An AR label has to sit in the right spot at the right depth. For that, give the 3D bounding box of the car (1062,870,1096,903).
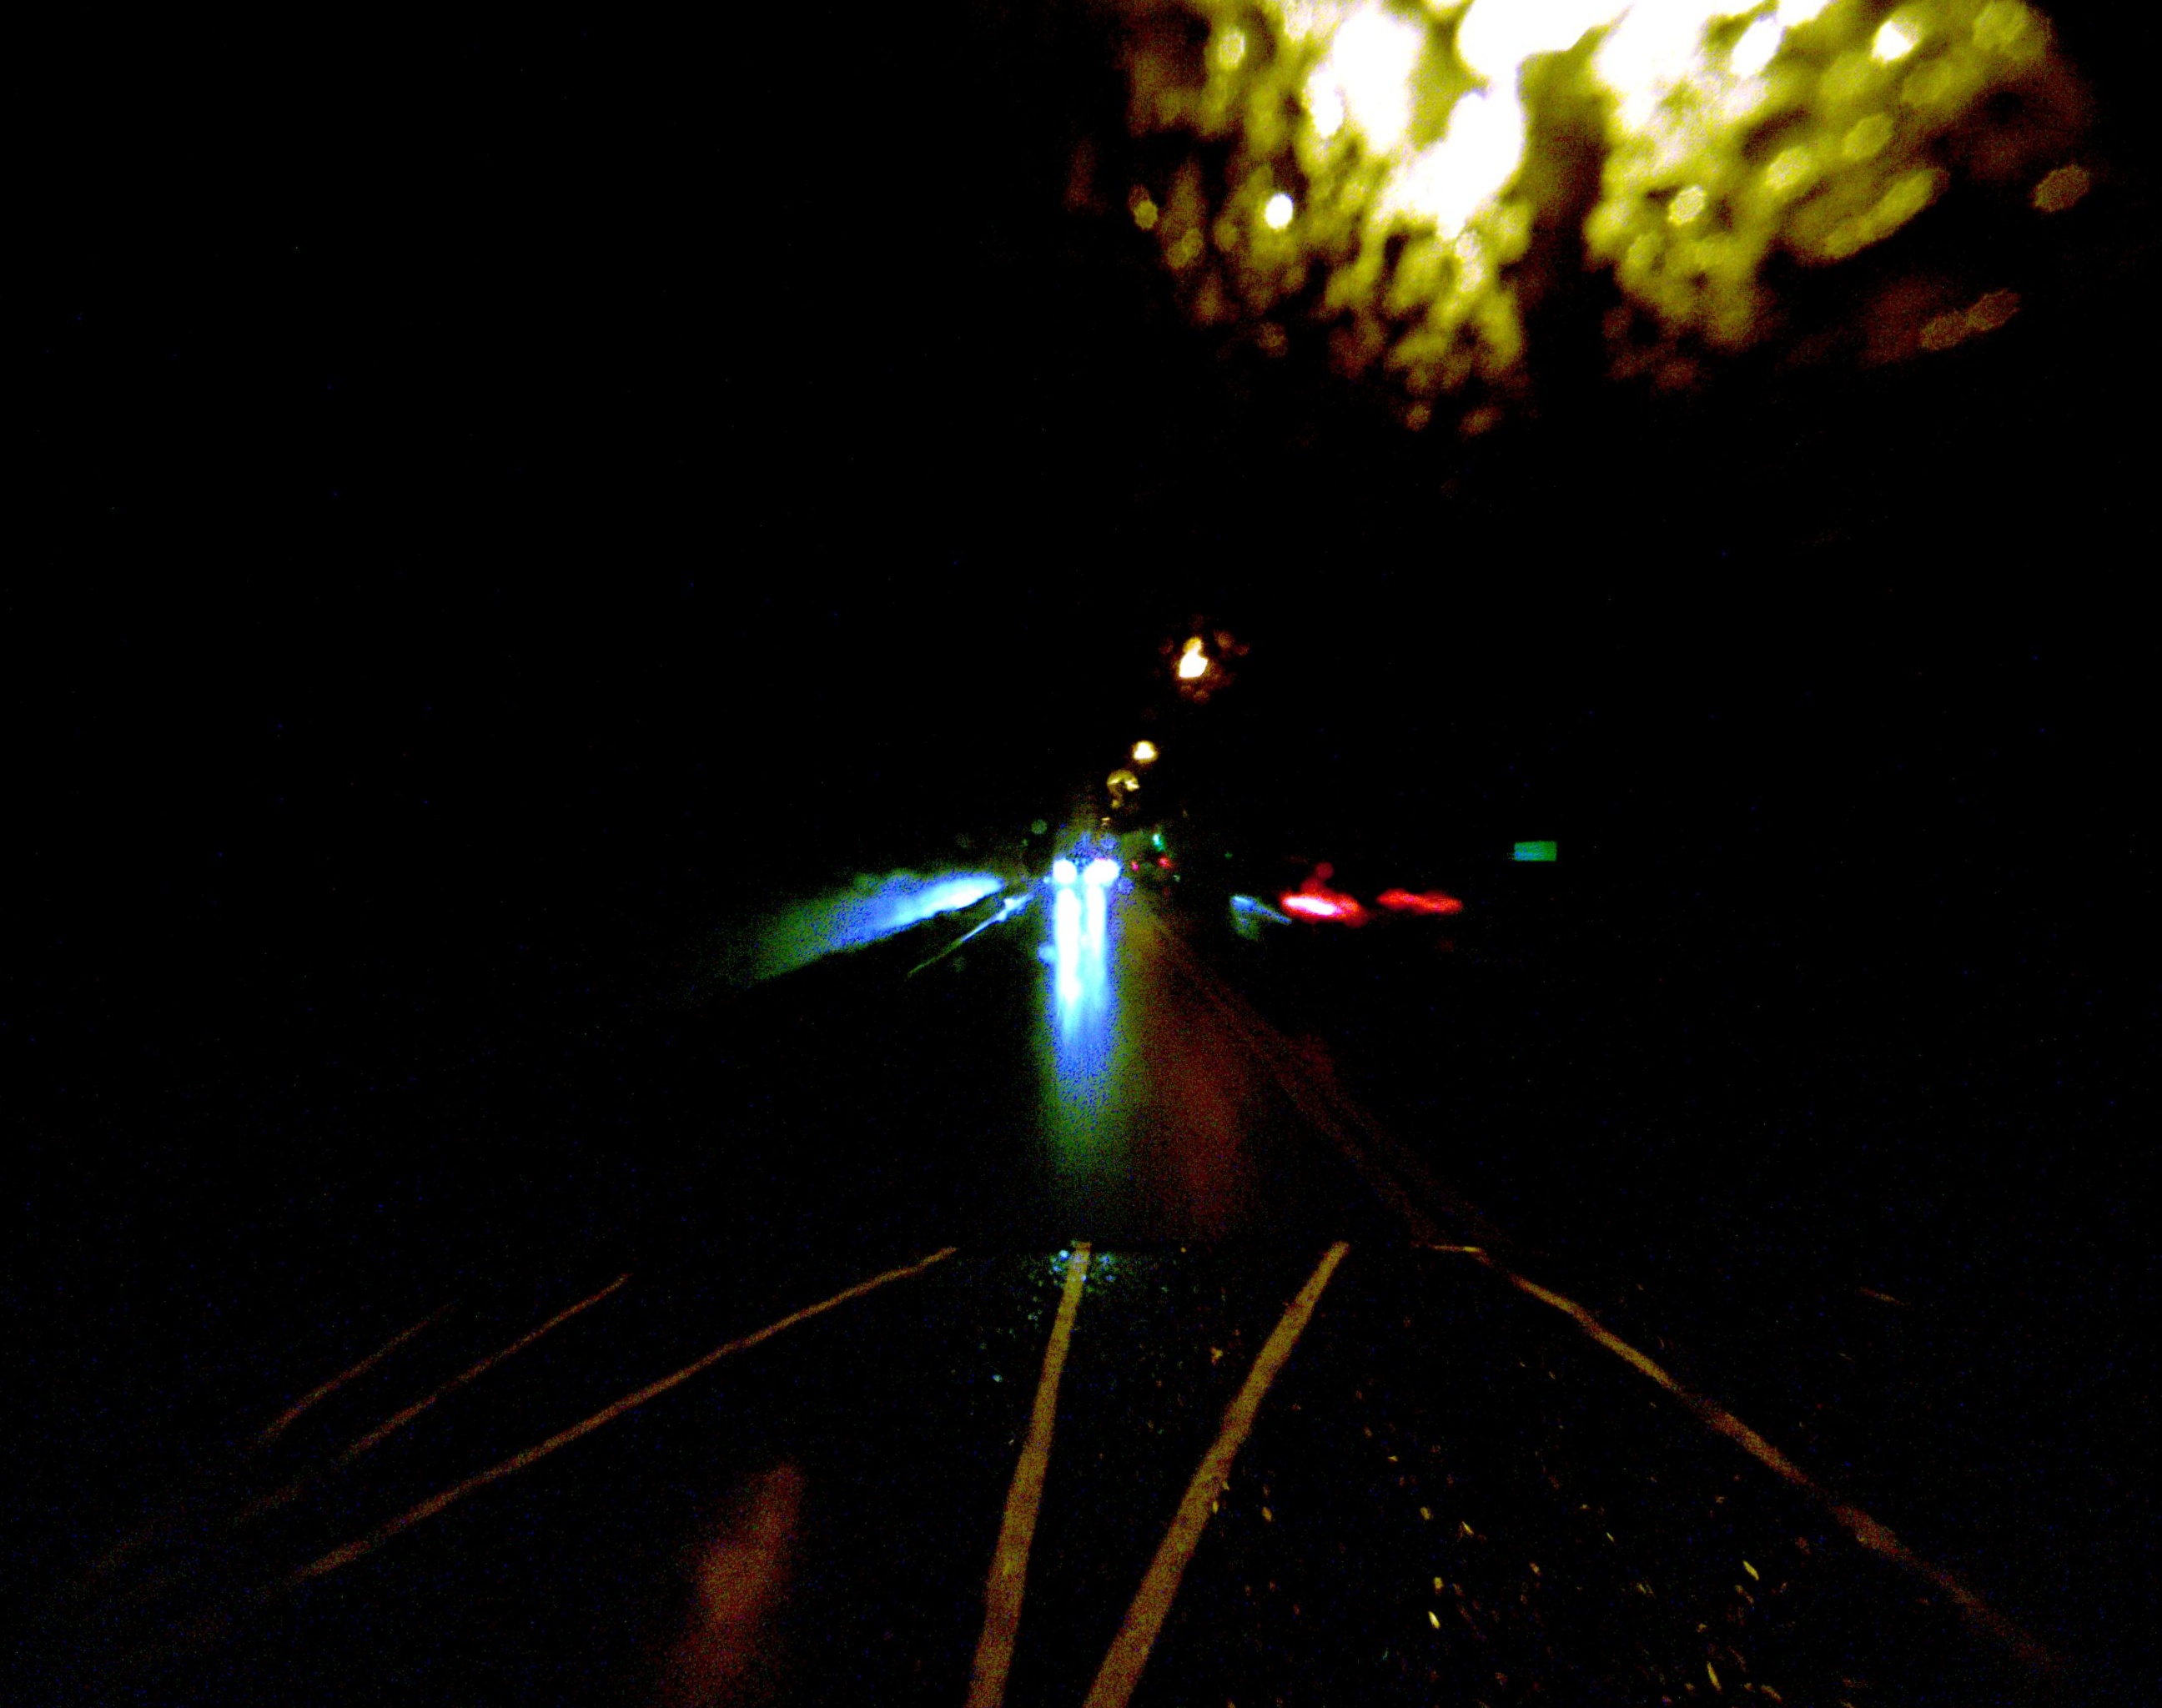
[{"bbox_3d":[-0.062,1.603,38.522,1.627,1.487,3.585,-1,0,1],"label":"car"}]

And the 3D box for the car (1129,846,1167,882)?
[{"bbox_3d":[3.786,0.555,43.323,1.845,1.888,4.608,-1,0,1],"label":"car"}]

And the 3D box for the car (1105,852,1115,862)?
[{"bbox_3d":[4.581,0.522,121.971,1.524,1.540,4.055,-1,-1,1],"label":"car"}]

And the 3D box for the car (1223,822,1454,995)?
[{"bbox_3d":[3.274,0.611,10.684,1.765,1.888,4.608,-1,0,1],"label":"car"}]
